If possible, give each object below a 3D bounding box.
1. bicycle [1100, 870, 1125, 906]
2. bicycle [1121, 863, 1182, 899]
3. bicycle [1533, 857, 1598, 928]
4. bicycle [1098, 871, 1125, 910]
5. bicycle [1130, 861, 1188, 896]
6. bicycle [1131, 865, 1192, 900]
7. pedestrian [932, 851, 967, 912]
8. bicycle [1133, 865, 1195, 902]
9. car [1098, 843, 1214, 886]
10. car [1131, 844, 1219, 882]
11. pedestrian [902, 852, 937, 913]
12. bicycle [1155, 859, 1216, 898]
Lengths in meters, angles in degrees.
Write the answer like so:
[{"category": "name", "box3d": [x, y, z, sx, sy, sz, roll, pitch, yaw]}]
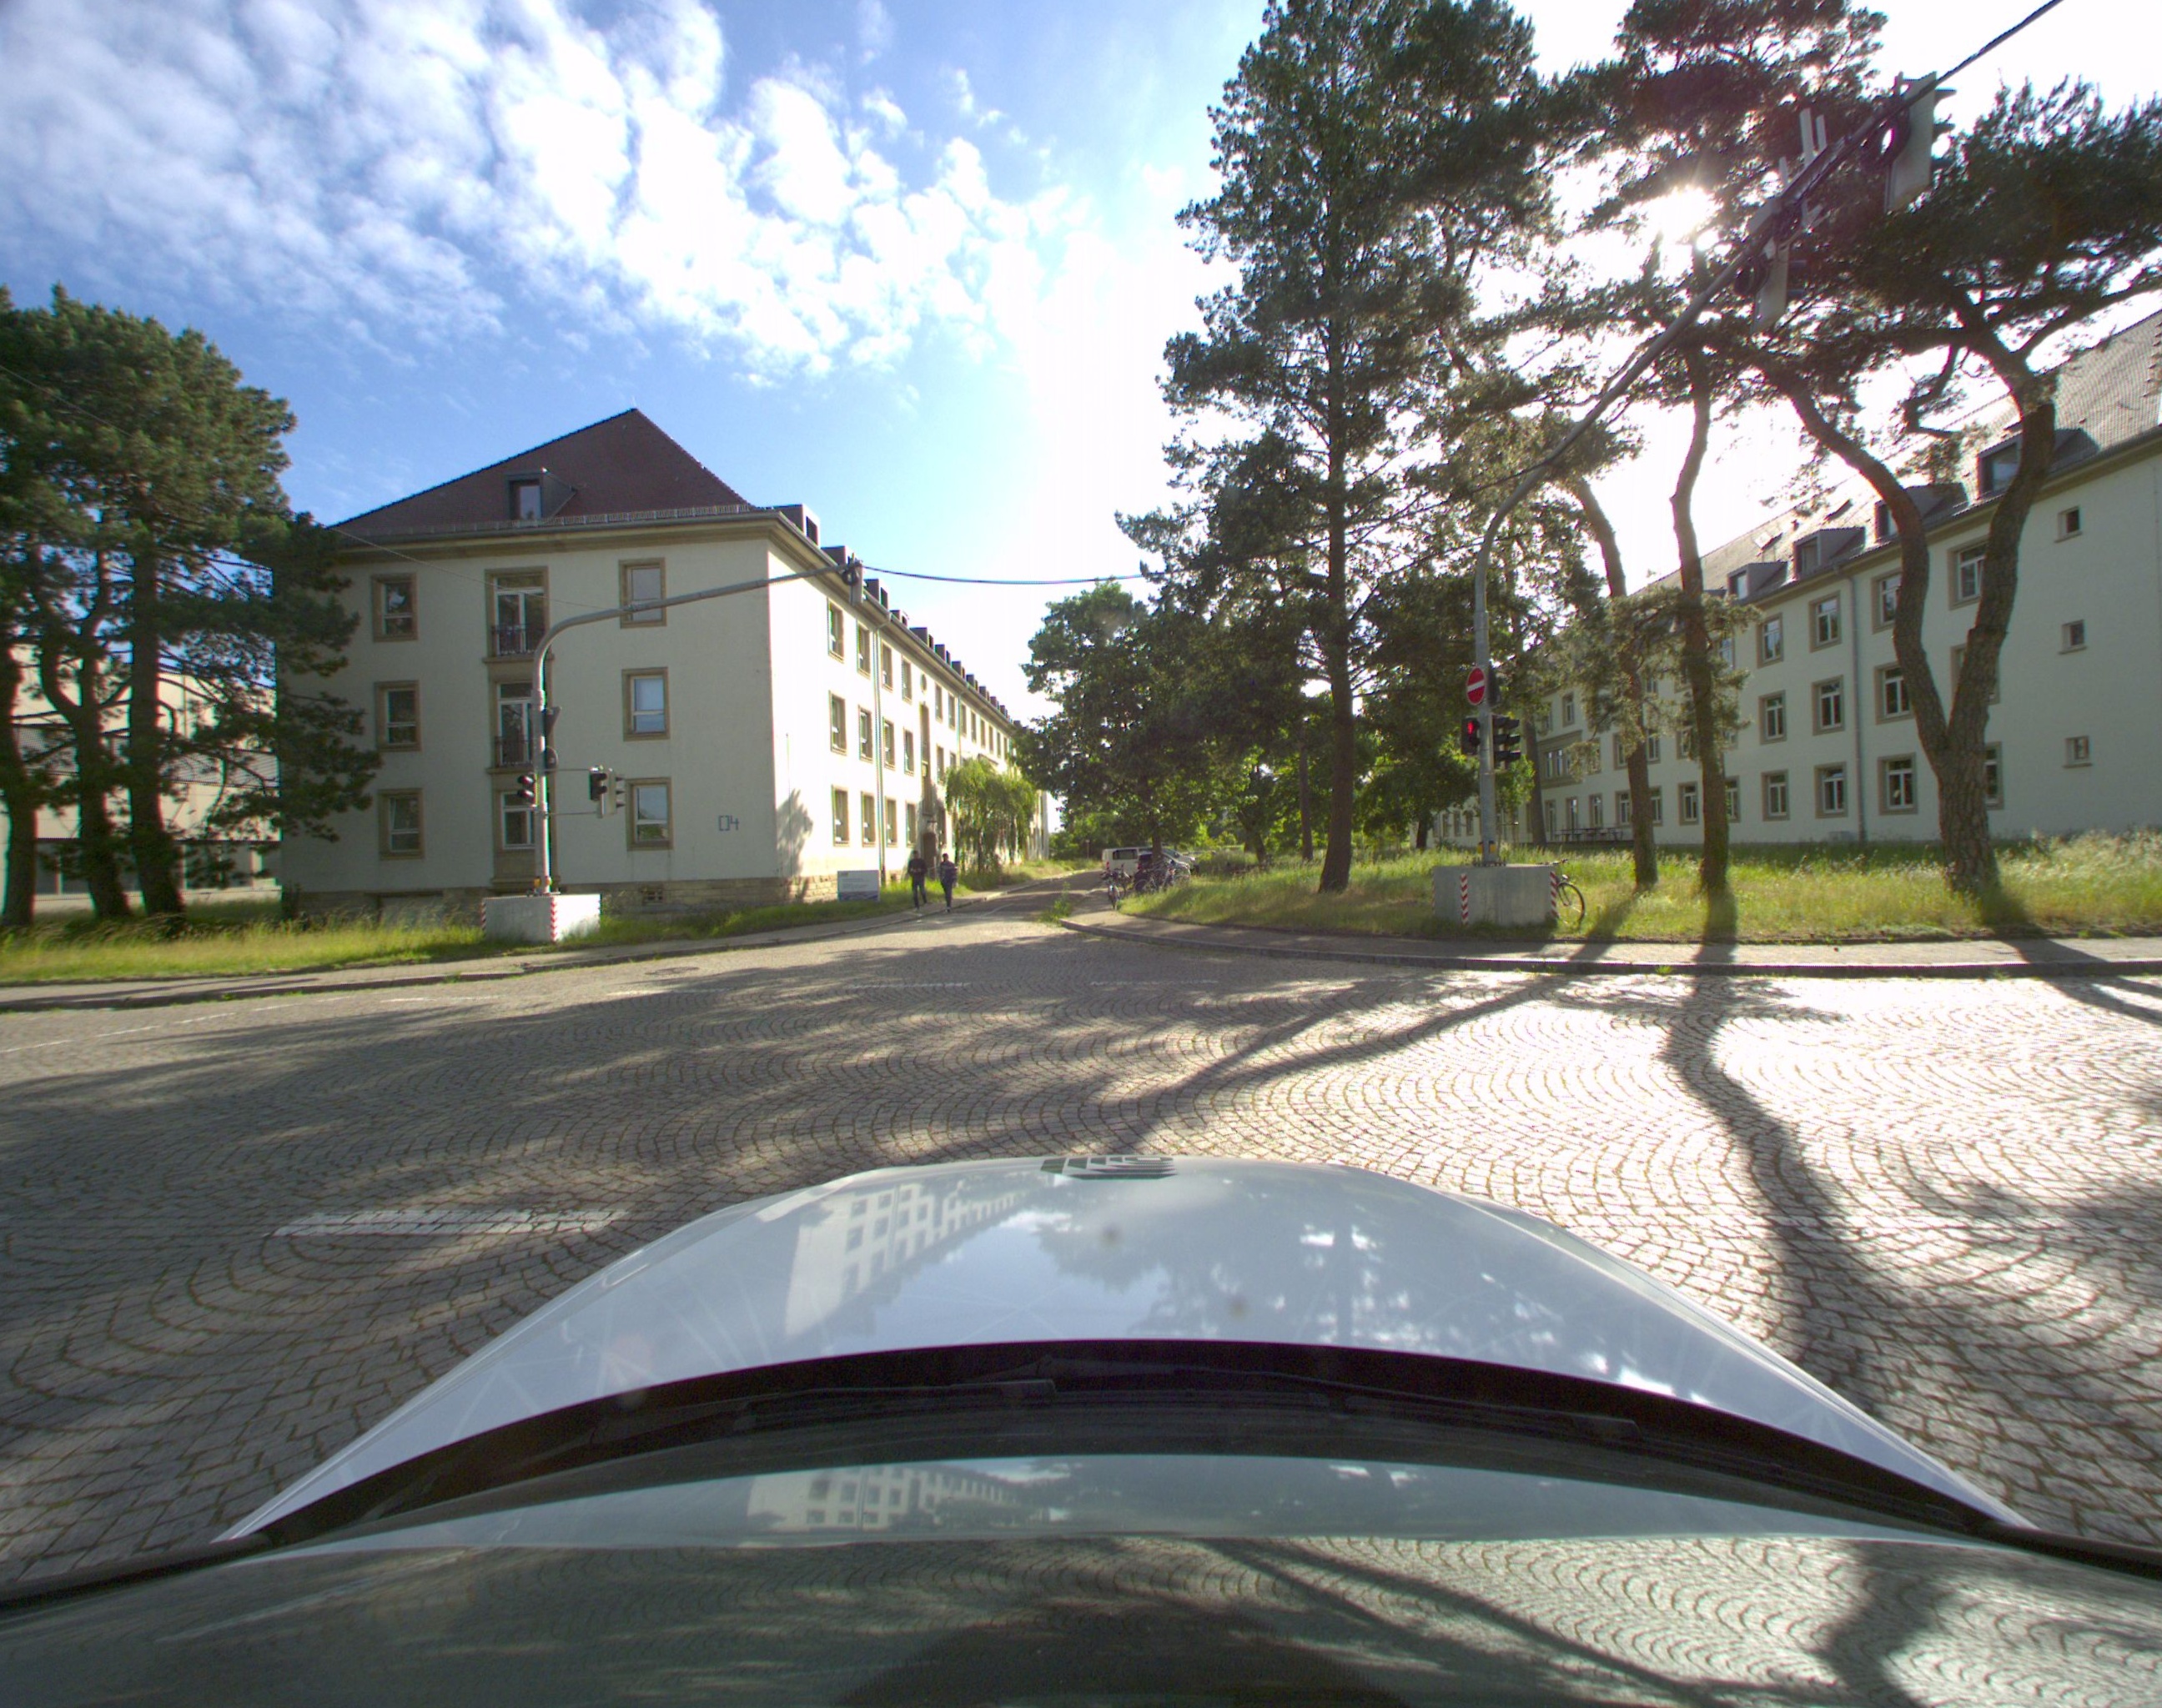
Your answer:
[{"category": "bicycle", "box3d": [0.960, 1.003, 24.305, 0.692, 0.971, 1.862, -1, 0, 3]}, {"category": "bicycle", "box3d": [2.405, 0.909, 27.749, 1.949, 1.129, 0.643, -2, 0, -22]}, {"category": "bicycle", "box3d": [7.782, 0.600, 13.125, 0.463, 1.080, 1.176, -2, -1, 8]}, {"category": "bicycle", "box3d": [0.849, 0.977, 22.357, 0.692, 0.971, 1.862, -1, 0, 3]}, {"category": "bicycle", "box3d": [2.749, 0.858, 28.832, 1.935, 1.129, 0.647, -2, 0, -1]}, {"category": "bicycle", "box3d": [2.537, 0.900, 25.723, 1.847, 1.031, 0.750, -2, 0, 2]}, {"category": "pedestrian", "box3d": [-3.951, 0.819, 24.504, 0.761, 1.817, 0.685, -2, 0, 15]}, {"category": "bicycle", "box3d": [2.684, 0.941, 26.516, 1.933, 1.129, 0.750, -2, 0, 1]}, {"category": "car", "box3d": [3.935, 0.548, 43.779, 5.915, 2.013, 2.473, -2, 0, -2]}, {"category": "car", "box3d": [4.507, 0.421, 39.383, 3.978, 1.684, 1.845, -2, 0, -3]}, {"category": "pedestrian", "box3d": [-4.885, 0.862, 24.631, 0.805, 1.817, 0.557, -2, 0, 15]}, {"category": "bicycle", "box3d": [3.473, 0.807, 27.151, 1.933, 1.235, 0.485, -2, 0, 1]}]
